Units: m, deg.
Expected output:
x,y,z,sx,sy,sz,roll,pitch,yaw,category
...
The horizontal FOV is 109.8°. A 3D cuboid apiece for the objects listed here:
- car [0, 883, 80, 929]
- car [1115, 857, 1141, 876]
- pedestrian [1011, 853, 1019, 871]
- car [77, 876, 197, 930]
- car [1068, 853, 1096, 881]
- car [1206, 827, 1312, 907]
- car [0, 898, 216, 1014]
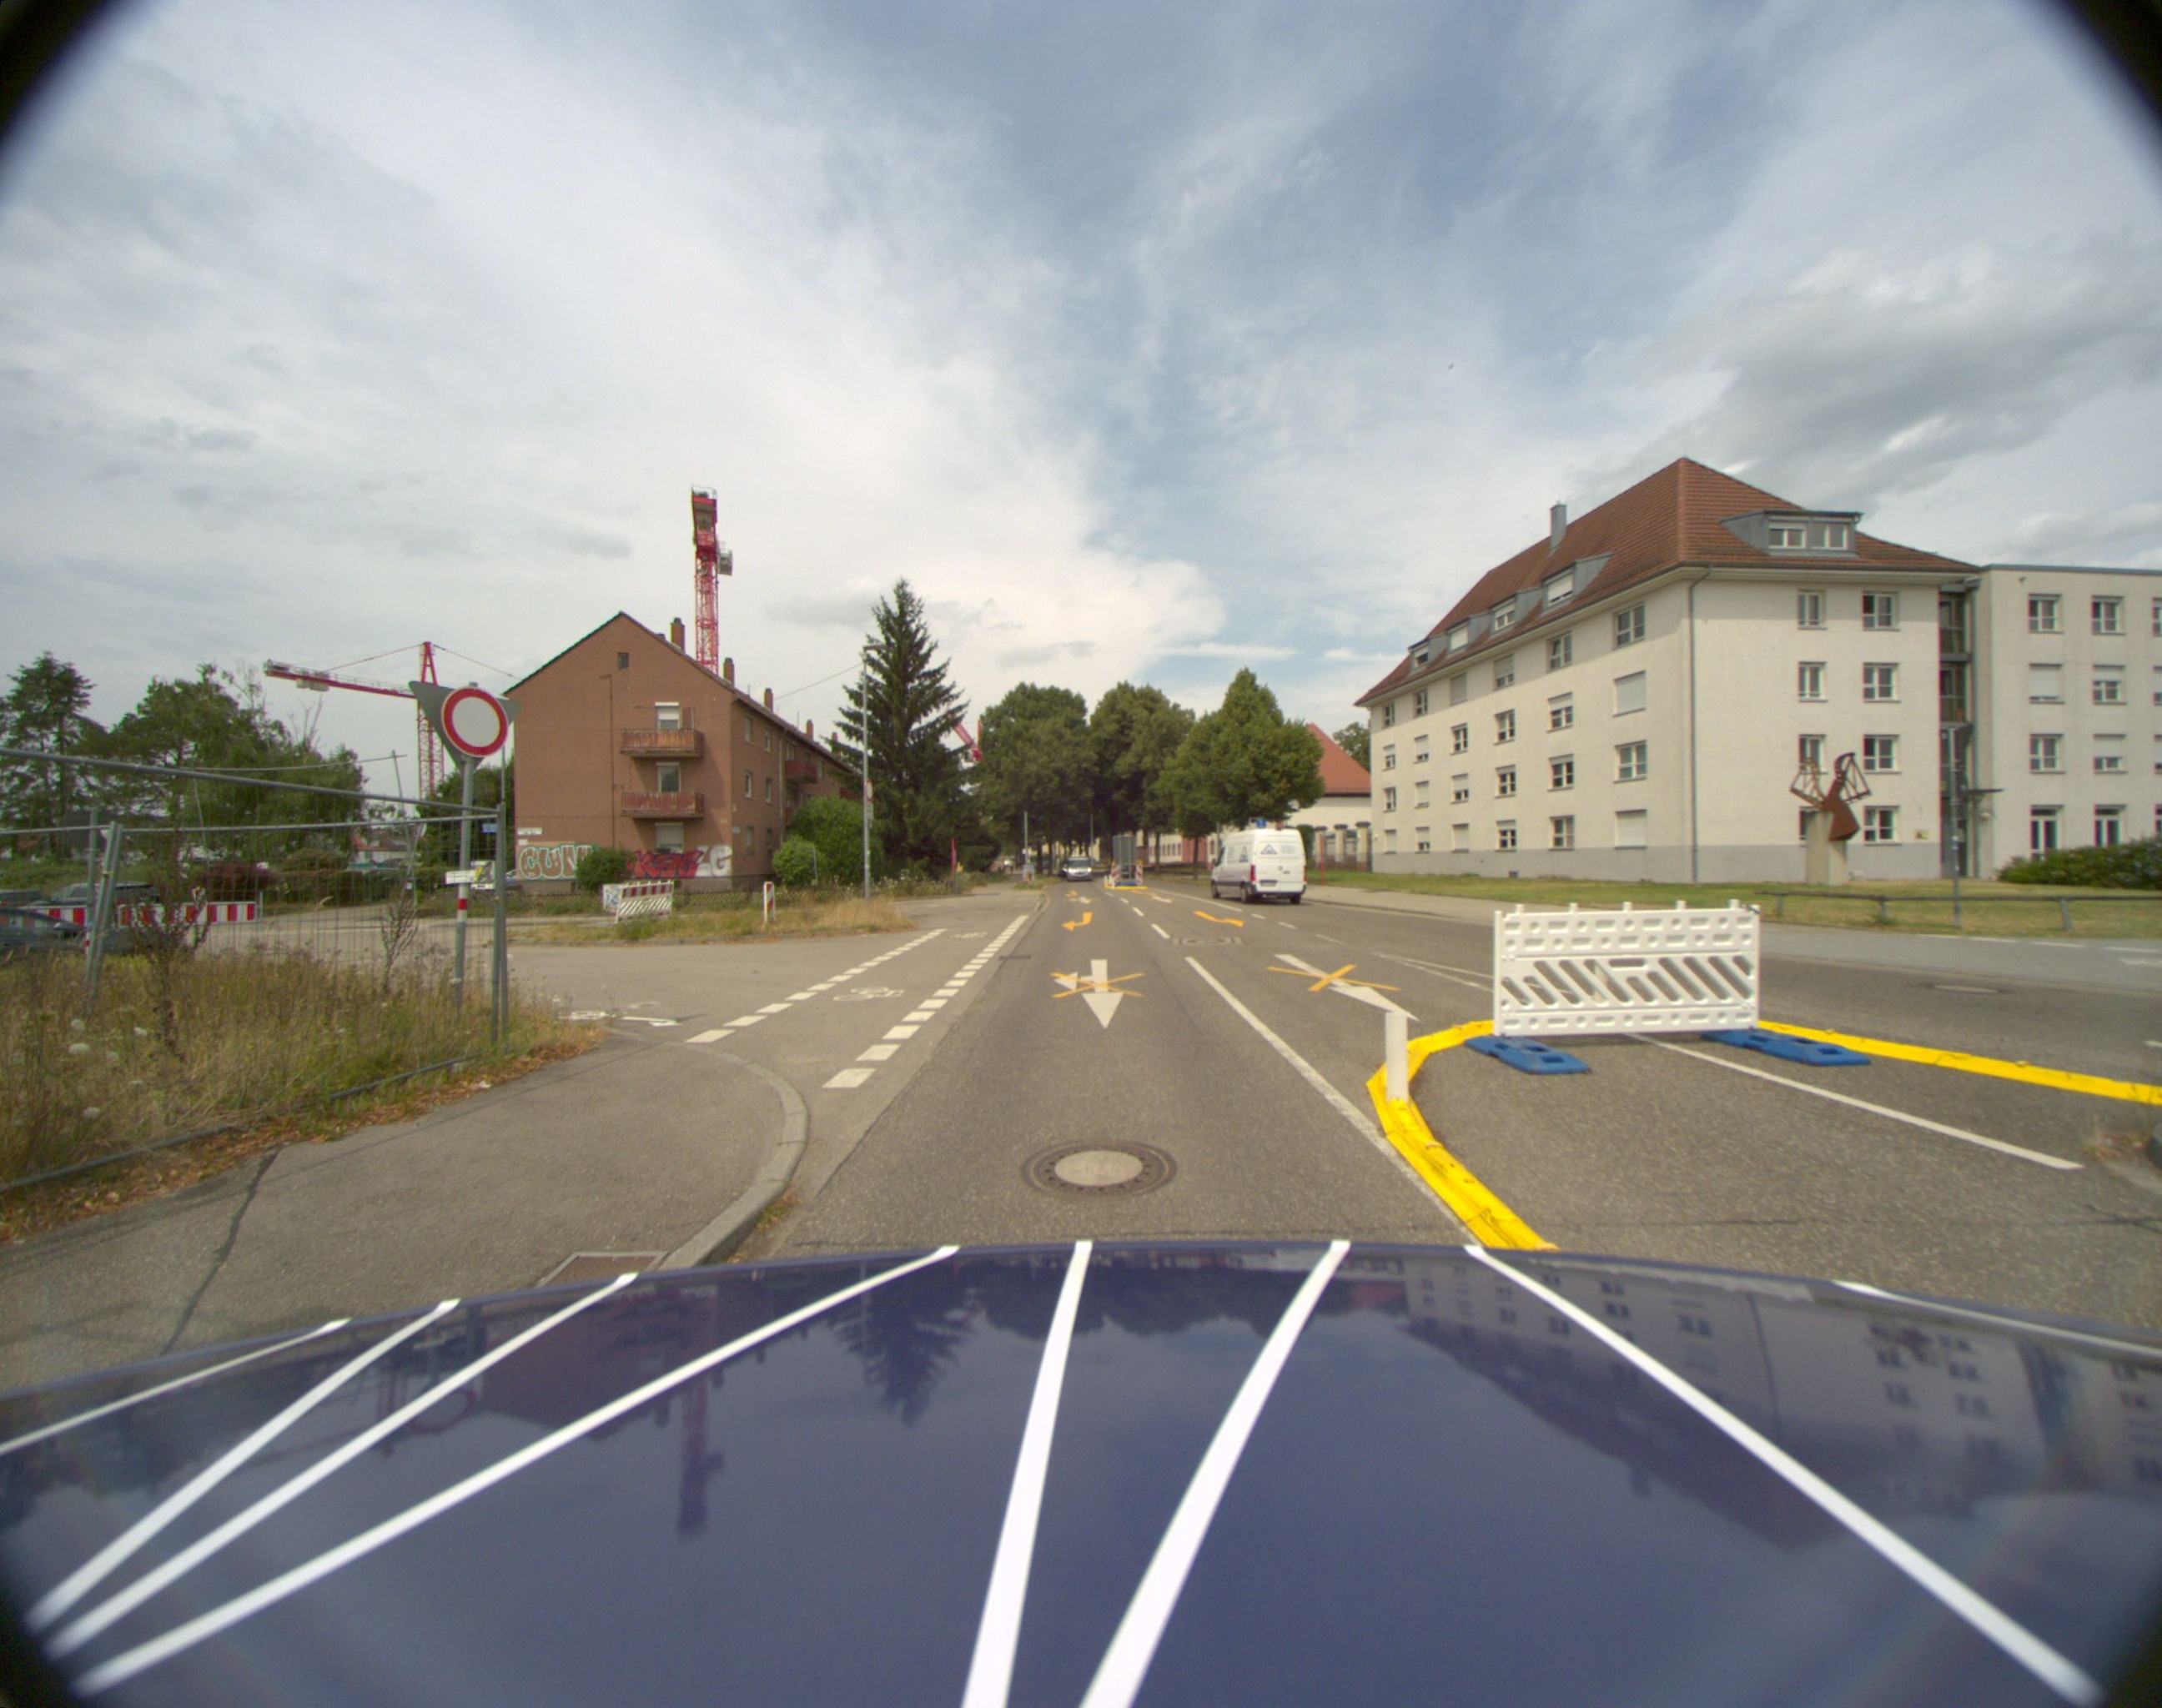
x,y,z,sx,sy,sz,roll,pitch,yaw,category
-40.658,1.960,28.826,4.006,1.593,1.804,-1,0,15,car
3.836,0.992,62.168,1.676,1.402,3.919,-1,0,-3,car
-7.128,0.869,81.897,0.856,2.002,0.731,-1,0,-5,pedestrian
-35.250,1.764,28.364,3.990,1.838,1.805,-1,0,24,car
0.007,0.931,56.040,1.810,1.936,4.583,-1,0,-3,car
6.515,0.423,28.666,2.071,2.670,5.967,-1,0,-6,car
-15.755,1.493,10.809,1.765,1.465,4.261,-1,0,7,car
